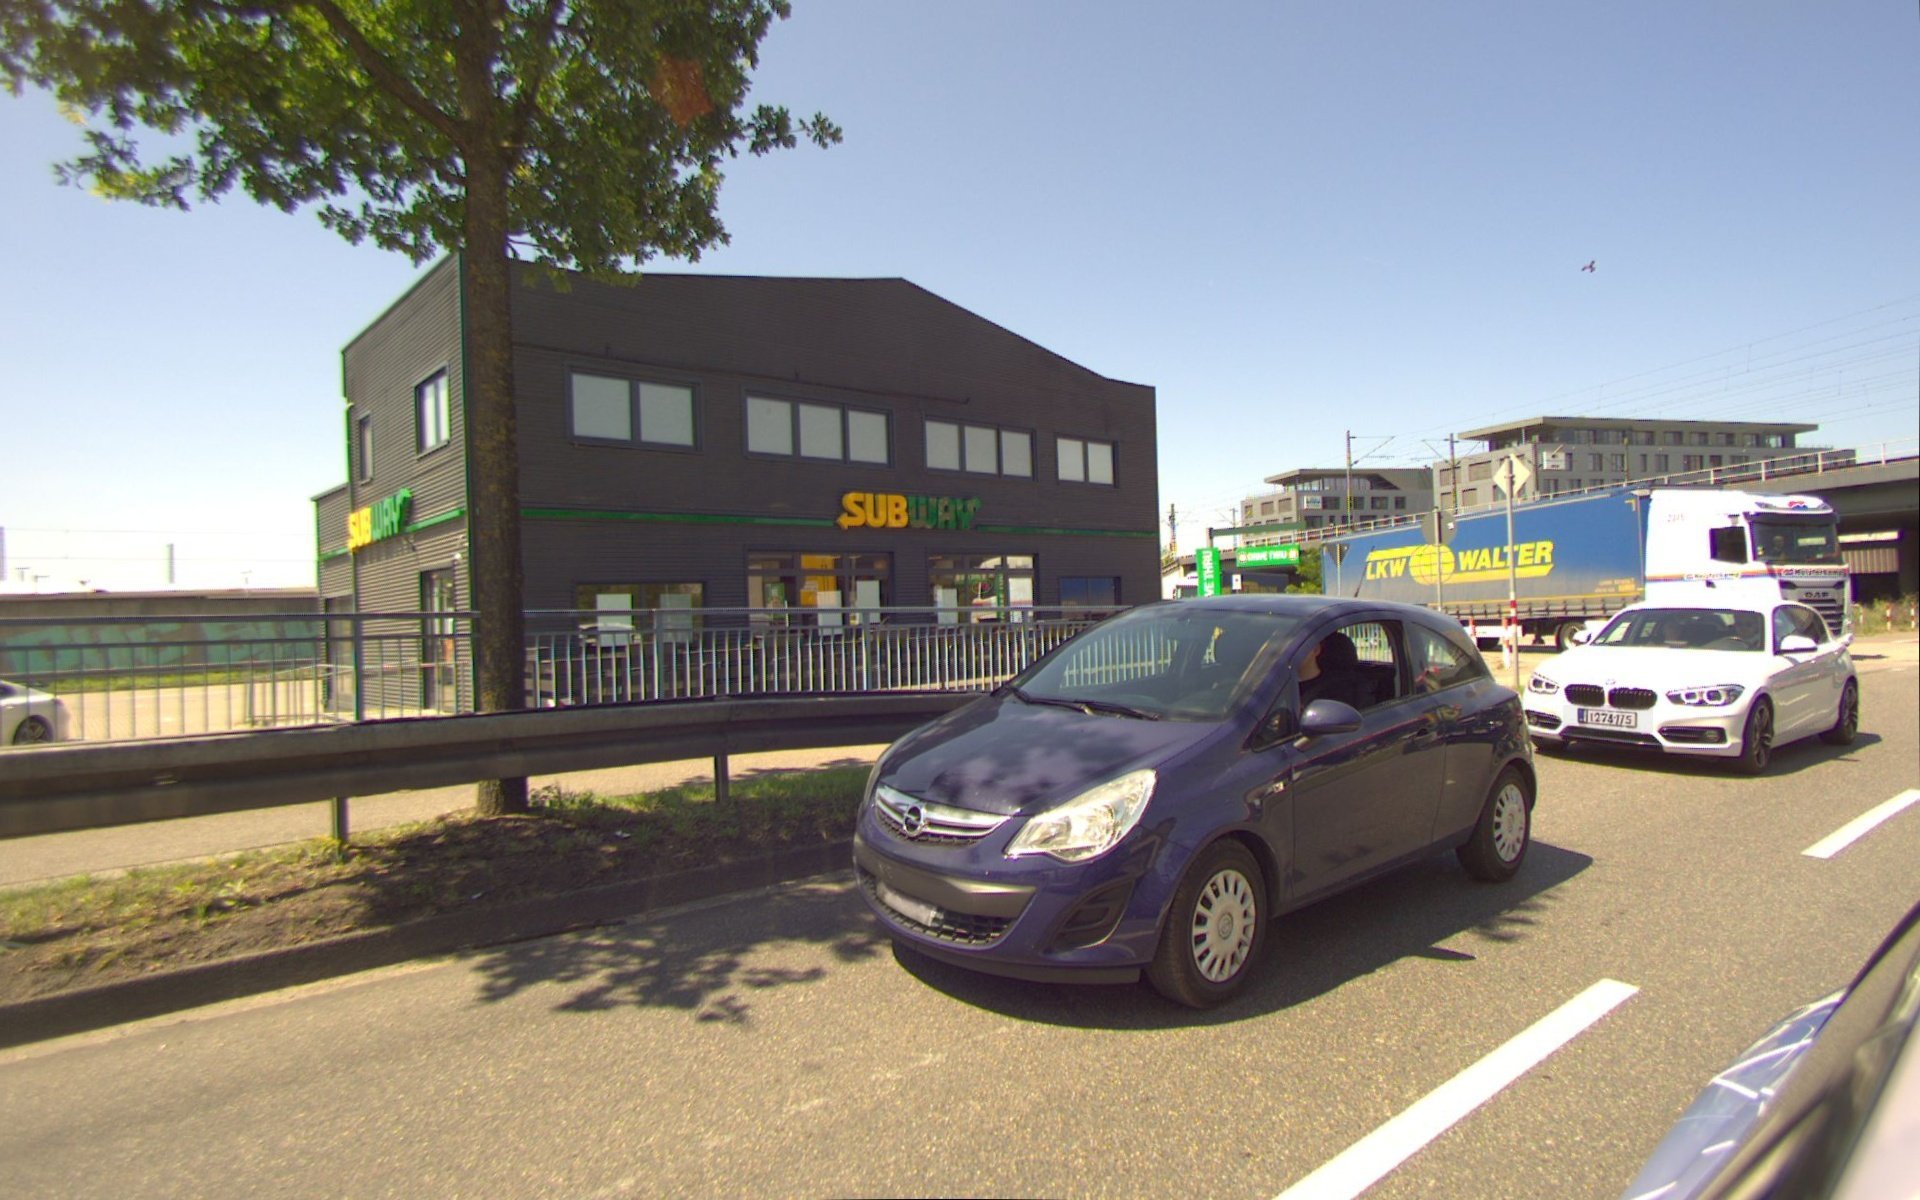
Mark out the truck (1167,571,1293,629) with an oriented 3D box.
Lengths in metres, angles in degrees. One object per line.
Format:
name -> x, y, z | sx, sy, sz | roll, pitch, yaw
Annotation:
truck -> 21.478, -0.155, 79.219 | 2.739, 4.155, 17.198 | -1, 0, 39

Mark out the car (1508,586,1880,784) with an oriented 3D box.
car -> 7.053, 0.623, 9.605 | 3.977, 1.461, 1.763 | -1, 2, -37

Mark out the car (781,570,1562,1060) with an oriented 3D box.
car -> 1.230, 0.639, 4.881 | 3.821, 1.462, 1.649 | 0, -1, -39

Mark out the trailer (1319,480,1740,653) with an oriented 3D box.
trailer -> 16.183, -0.714, 31.197 | 2.448, 4.142, 13.929 | -1, -1, -13

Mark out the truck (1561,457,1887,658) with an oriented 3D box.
truck -> 17.741, -0.859, 24.049 | 2.522, 4.154, 5.772 | -1, -1, -13

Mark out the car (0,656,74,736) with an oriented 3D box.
car -> -21.261, 2.126, 21.285 | 1.623, 1.578, 4.403 | -1, 0, -4

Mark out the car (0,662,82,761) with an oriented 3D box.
car -> -15.216, 1.742, 14.009 | 1.960, 1.375, 5.087 | -1, 0, -4
